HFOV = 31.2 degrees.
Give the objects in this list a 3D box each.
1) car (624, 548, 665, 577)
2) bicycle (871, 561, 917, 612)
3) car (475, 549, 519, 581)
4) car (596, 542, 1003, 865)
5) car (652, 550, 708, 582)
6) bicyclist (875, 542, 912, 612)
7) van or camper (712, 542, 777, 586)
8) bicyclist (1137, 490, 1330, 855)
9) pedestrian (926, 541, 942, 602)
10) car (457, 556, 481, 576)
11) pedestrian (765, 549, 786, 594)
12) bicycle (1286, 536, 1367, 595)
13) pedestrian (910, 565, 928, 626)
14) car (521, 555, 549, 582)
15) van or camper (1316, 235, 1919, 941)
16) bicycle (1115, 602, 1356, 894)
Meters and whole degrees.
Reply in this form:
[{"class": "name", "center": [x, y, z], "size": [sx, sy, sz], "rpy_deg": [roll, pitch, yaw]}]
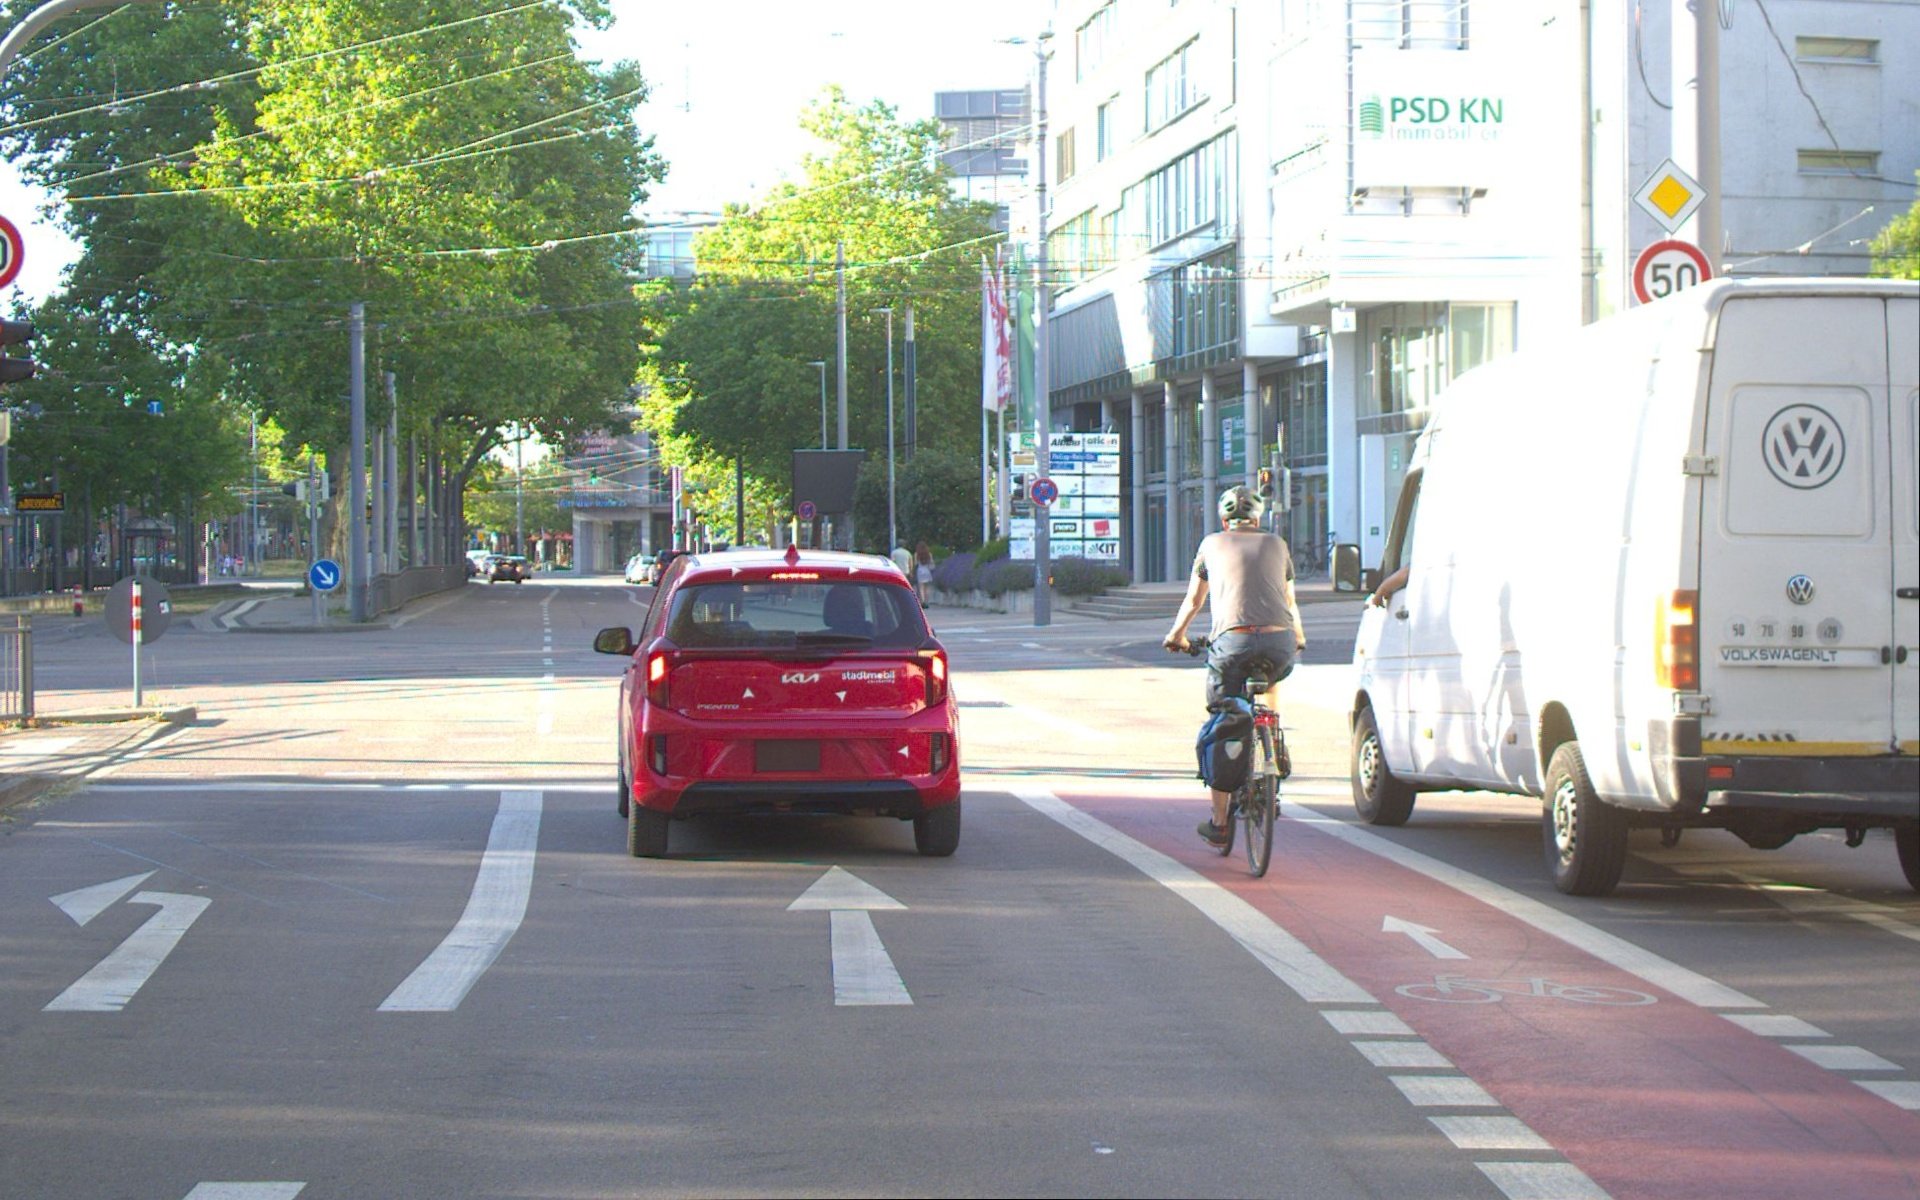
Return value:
[{"class": "car", "center": [-17.494, -2.069, 190.494], "size": [1.884, 1.523, 4.433], "rpy_deg": [-1, 1, -10]}, {"class": "bicycle", "center": [-1.562, -0.318, 81.092], "size": [0.792, 1.157, 2.500], "rpy_deg": [-1, 1, -7]}, {"class": "car", "center": [-25.034, -1.888, 185.806], "size": [2.057, 1.648, 3.493], "rpy_deg": [-1, 1, -12]}, {"class": "car", "center": [-0.942, 0.449, 17.964], "size": [1.839, 1.484, 3.717], "rpy_deg": [-1, 1, -7]}, {"class": "car", "center": [-14.178, -1.742, 173.659], "size": [2.478, 1.523, 4.433], "rpy_deg": [-1, 1, -9]}, {"class": "bicyclist", "center": [-1.565, -0.552, 81.088], "size": [0.785, 1.629, 0.639], "rpy_deg": [-1, 1, -7]}, {"class": "van or camper", "center": [-8.990, -1.523, 143.067], "size": [2.145, 1.744, 4.433], "rpy_deg": [-1, 1, -10]}, {"class": "bicyclist", "center": [1.273, 0.328, 16.142], "size": [0.743, 1.663, 0.745], "rpy_deg": [1, 1, -6]}, {"class": "pedestrian", "center": [-0.663, -0.734, 88.379], "size": [0.294, 1.557, 0.314], "rpy_deg": [-1, 1, -21]}, {"class": "car", "center": [-33.645, -2.336, 235.663], "size": [1.574, 1.302, 3.340], "rpy_deg": [-1, 1, -8]}, {"class": "pedestrian", "center": [-7.041, -1.077, 131.251], "size": [0.742, 1.710, 0.748], "rpy_deg": [-1, 1, -6]}, {"class": "bicycle", "center": [9.222, -0.865, 86.483], "size": [1.934, 1.438, 0.575], "rpy_deg": [-1, 1, -8]}, {"class": "pedestrian", "center": [-1.055, -0.110, 88.407], "size": [0.294, 1.557, 0.356], "rpy_deg": [-1, 1, -34]}, {"class": "car", "center": [-26.635, -1.963, 215.546], "size": [1.657, 1.601, 3.532], "rpy_deg": [-1, 1, -8]}, {"class": "van or camper", "center": [3.558, -0.076, 16.644], "size": [2.268, 2.724, 6.348], "rpy_deg": [2, 1, -6]}, {"class": "bicycle", "center": [1.263, 0.656, 16.219], "size": [0.743, 1.220, 2.156], "rpy_deg": [1, 1, -5]}]
